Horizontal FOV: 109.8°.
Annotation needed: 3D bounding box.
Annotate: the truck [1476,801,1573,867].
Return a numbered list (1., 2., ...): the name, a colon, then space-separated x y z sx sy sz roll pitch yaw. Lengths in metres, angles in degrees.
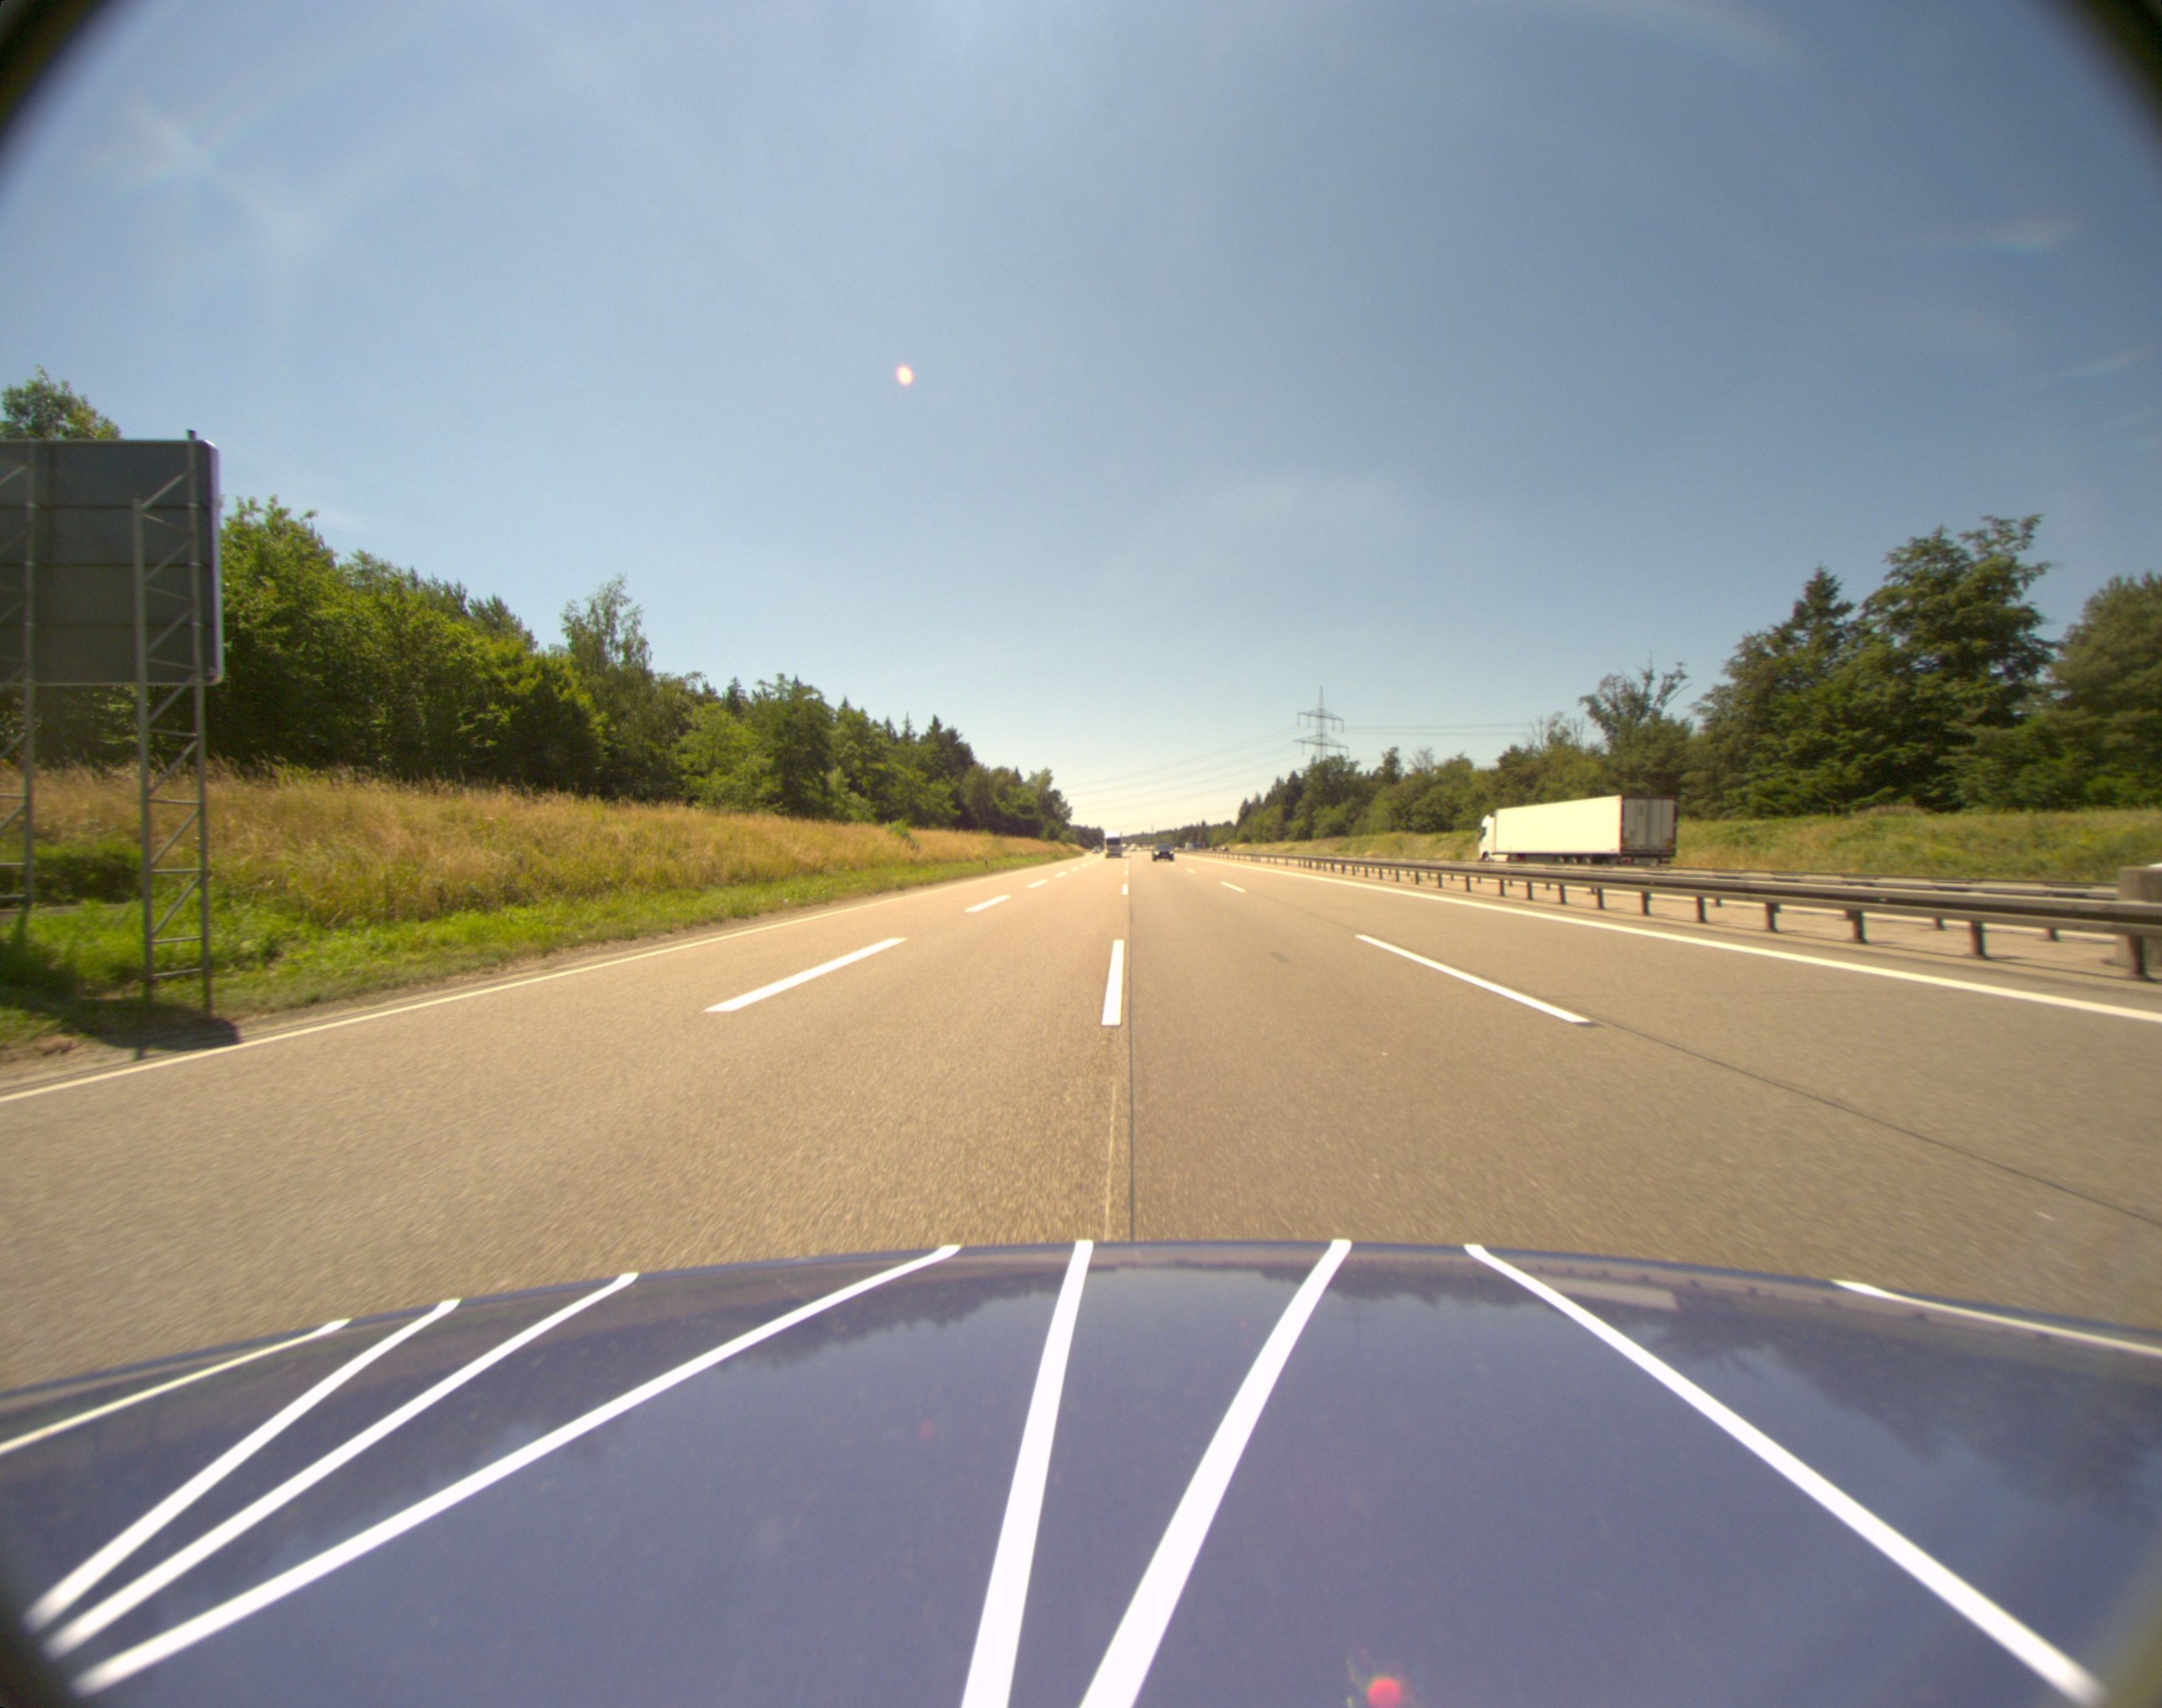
1. truck: 29.455 -1.291 50.840 3.221 3.995 6.217 -2 1 5

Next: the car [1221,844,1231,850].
1. car: 35.609 -1.774 187.090 1.830 1.501 4.744 -1 1 3

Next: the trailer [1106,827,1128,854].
1. trailer: 5.774 -2.053 120.136 2.981 4.118 11.699 -1 0 5

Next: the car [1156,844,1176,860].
1. car: 8.480 -0.208 76.271 1.898 1.417 4.263 -2 0 6

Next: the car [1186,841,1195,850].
1. car: 35.344 -2.778 246.192 2.348 2.695 6.874 1 1 3

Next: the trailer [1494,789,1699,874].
1. trailer: 28.787 -1.182 43.857 3.221 4.019 14.364 -2 1 5

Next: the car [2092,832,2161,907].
1. car: 26.558 0.378 16.781 1.998 1.739 4.991 -2 1 3

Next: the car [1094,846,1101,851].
1. car: 4.873 -1.543 224.519 1.898 1.417 4.263 -2 0 6

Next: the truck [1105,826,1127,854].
1. truck: 5.263 -2.041 114.598 2.979 4.118 5.351 -1 0 6
